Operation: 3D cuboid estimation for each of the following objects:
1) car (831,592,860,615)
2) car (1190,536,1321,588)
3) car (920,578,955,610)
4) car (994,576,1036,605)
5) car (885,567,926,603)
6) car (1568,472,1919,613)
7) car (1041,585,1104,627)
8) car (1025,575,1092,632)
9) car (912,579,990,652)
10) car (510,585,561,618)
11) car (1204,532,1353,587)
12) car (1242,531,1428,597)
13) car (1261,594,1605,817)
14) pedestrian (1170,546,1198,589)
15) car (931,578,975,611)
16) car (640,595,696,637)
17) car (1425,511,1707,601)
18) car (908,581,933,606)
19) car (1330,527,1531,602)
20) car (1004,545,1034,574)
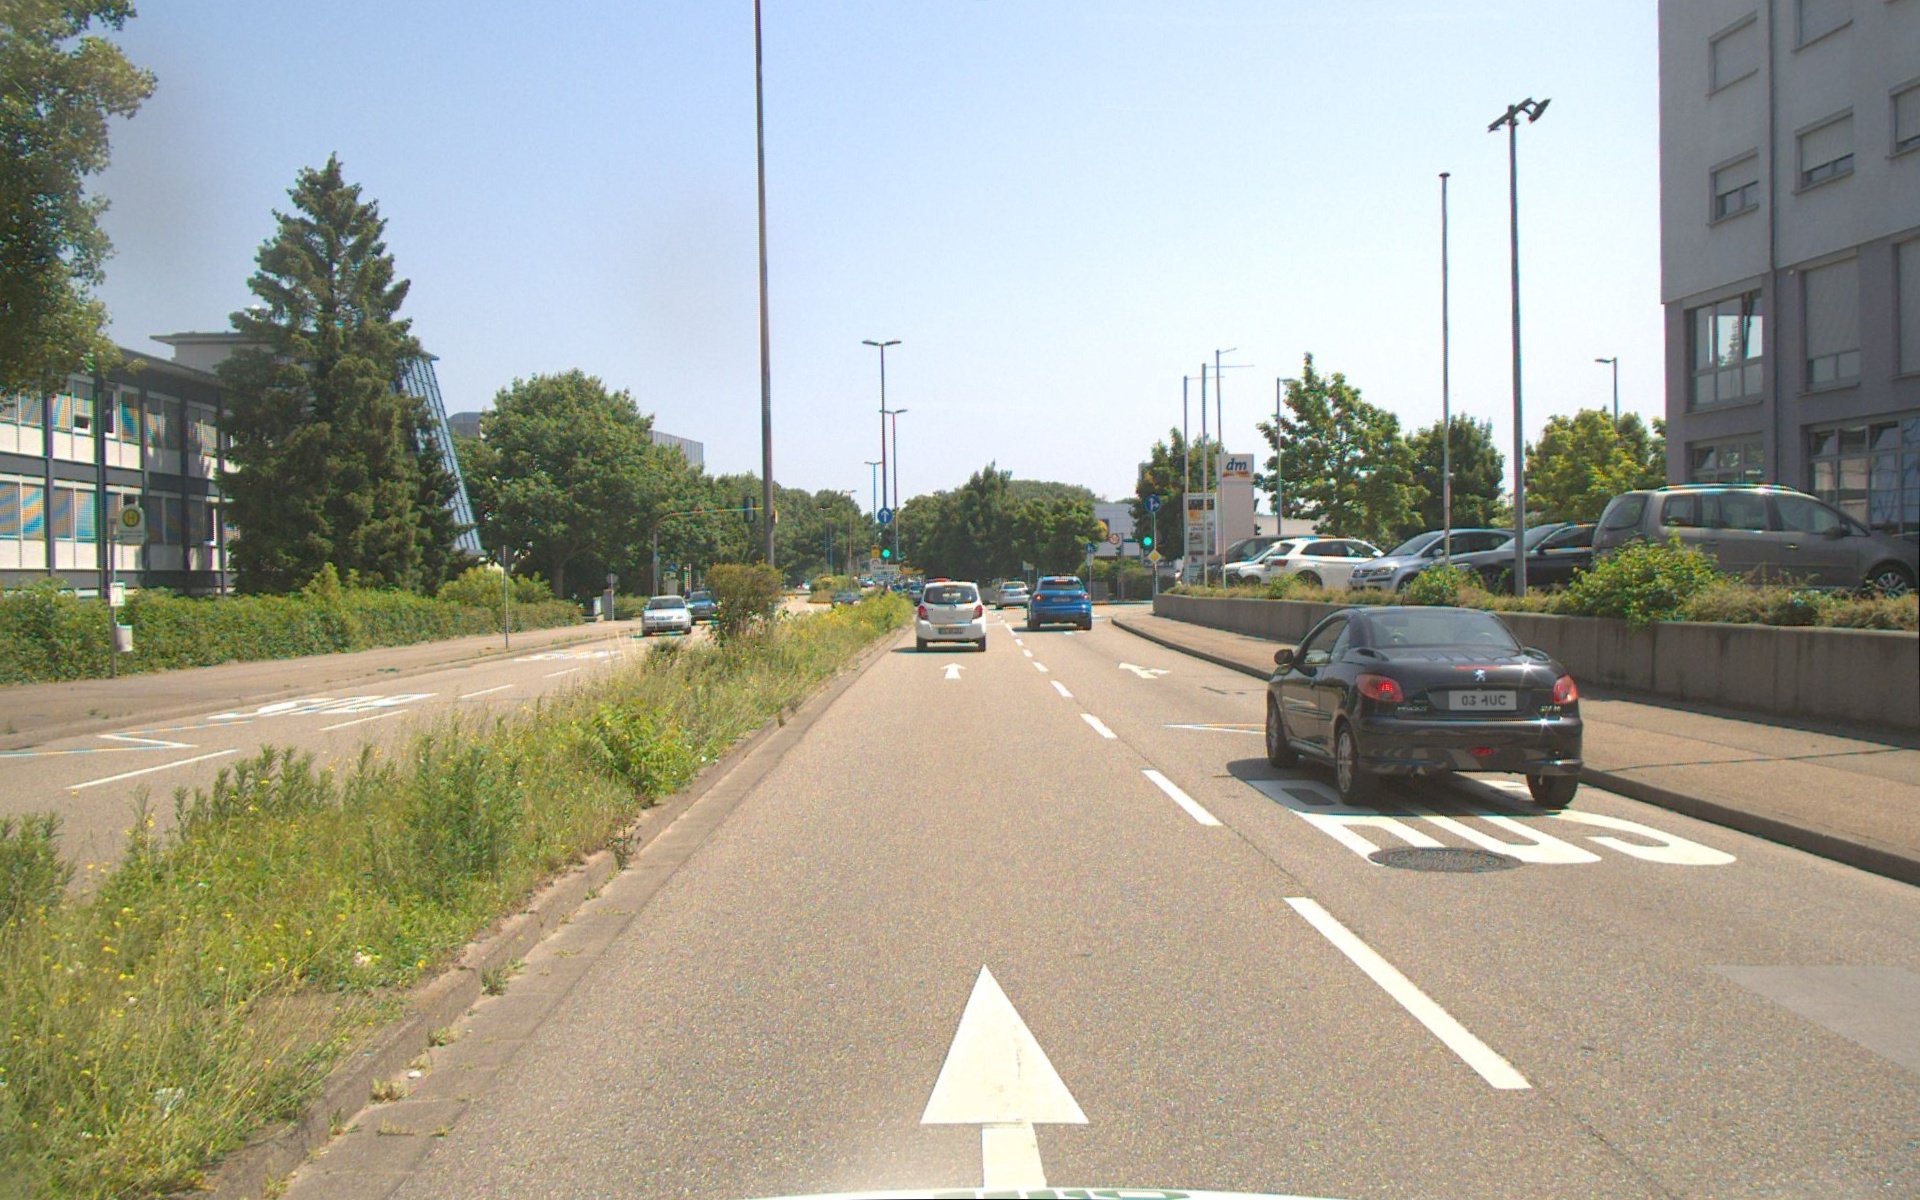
[{"bbox_3d":[-6.535,0.185,94.145,1.544,1.291,3.725,-1,0,-6],"label":"car"},{"bbox_3d":[9.840,-1.261,55.225,3.908,1.571,1.999,-2,0,-3],"label":"car"},{"bbox_3d":[-1.310,-0.370,95.608,1.741,1.770,3.997,-1,0,-4],"label":"car"},{"bbox_3d":[2.852,-0.518,87.294,1.953,1.445,3.999,-2,1,-1],"label":"car"},{"bbox_3d":[-2.790,-0.801,84.059,1.784,1.690,3.996,-1,2,-5],"label":"car"},{"bbox_3d":[10.576,-0.747,22.082,4.142,1.676,1.999,-2,0,-2],"label":"car"},{"bbox_3d":[4.076,0.201,59.538,1.428,1.400,3.493,-1,0,18],"label":"car"},{"bbox_3d":[2.951,0.079,50.110,1.790,1.607,3.606,-1,1,0],"label":"car"},{"bbox_3d":[-0.200,0.324,38.225,1.712,1.546,3.746,0,1,0],"label":"car"},{"bbox_3d":[-22.588,0.041,88.168,1.820,1.624,4.313,-3,1,-4],"label":"car"},{"bbox_3d":[10.045,-1.281,52.423,4.260,1.571,1.999,-2,0,-3],"label":"car"},{"bbox_3d":[9.888,-0.939,43.855,4.443,1.571,1.999,-2,0,-2],"label":"car"},{"bbox_3d":[3.470,0.697,12.792,1.594,1.387,3.605,1,1,-1],"label":"car"},{"bbox_3d":[8.764,-1.266,64.599,0.759,1.636,1.084,-1,0,26],"label":"pedestrian"},{"bbox_3d":[-0.341,-0.284,78.200,1.953,1.467,3.999,-1,0,-2],"label":"car"},{"bbox_3d":[-10.722,0.550,60.963,1.702,1.437,4.366,-1,0,-6],"label":"car"},{"bbox_3d":[10.664,-0.760,29.314,4.234,1.392,1.999,-2,0,-3],"label":"car"},{"bbox_3d":[-2.867,-0.490,119.475,1.761,1.719,3.999,-2,0,-1],"label":"car"},{"bbox_3d":[10.162,-0.758,35.757,3.862,1.477,1.755,-2,0,-19],"label":"car"},{"bbox_3d":[4.407,-3.035,123.414,1.735,2.048,3.987,-2,1,-5],"label":"car"}]
